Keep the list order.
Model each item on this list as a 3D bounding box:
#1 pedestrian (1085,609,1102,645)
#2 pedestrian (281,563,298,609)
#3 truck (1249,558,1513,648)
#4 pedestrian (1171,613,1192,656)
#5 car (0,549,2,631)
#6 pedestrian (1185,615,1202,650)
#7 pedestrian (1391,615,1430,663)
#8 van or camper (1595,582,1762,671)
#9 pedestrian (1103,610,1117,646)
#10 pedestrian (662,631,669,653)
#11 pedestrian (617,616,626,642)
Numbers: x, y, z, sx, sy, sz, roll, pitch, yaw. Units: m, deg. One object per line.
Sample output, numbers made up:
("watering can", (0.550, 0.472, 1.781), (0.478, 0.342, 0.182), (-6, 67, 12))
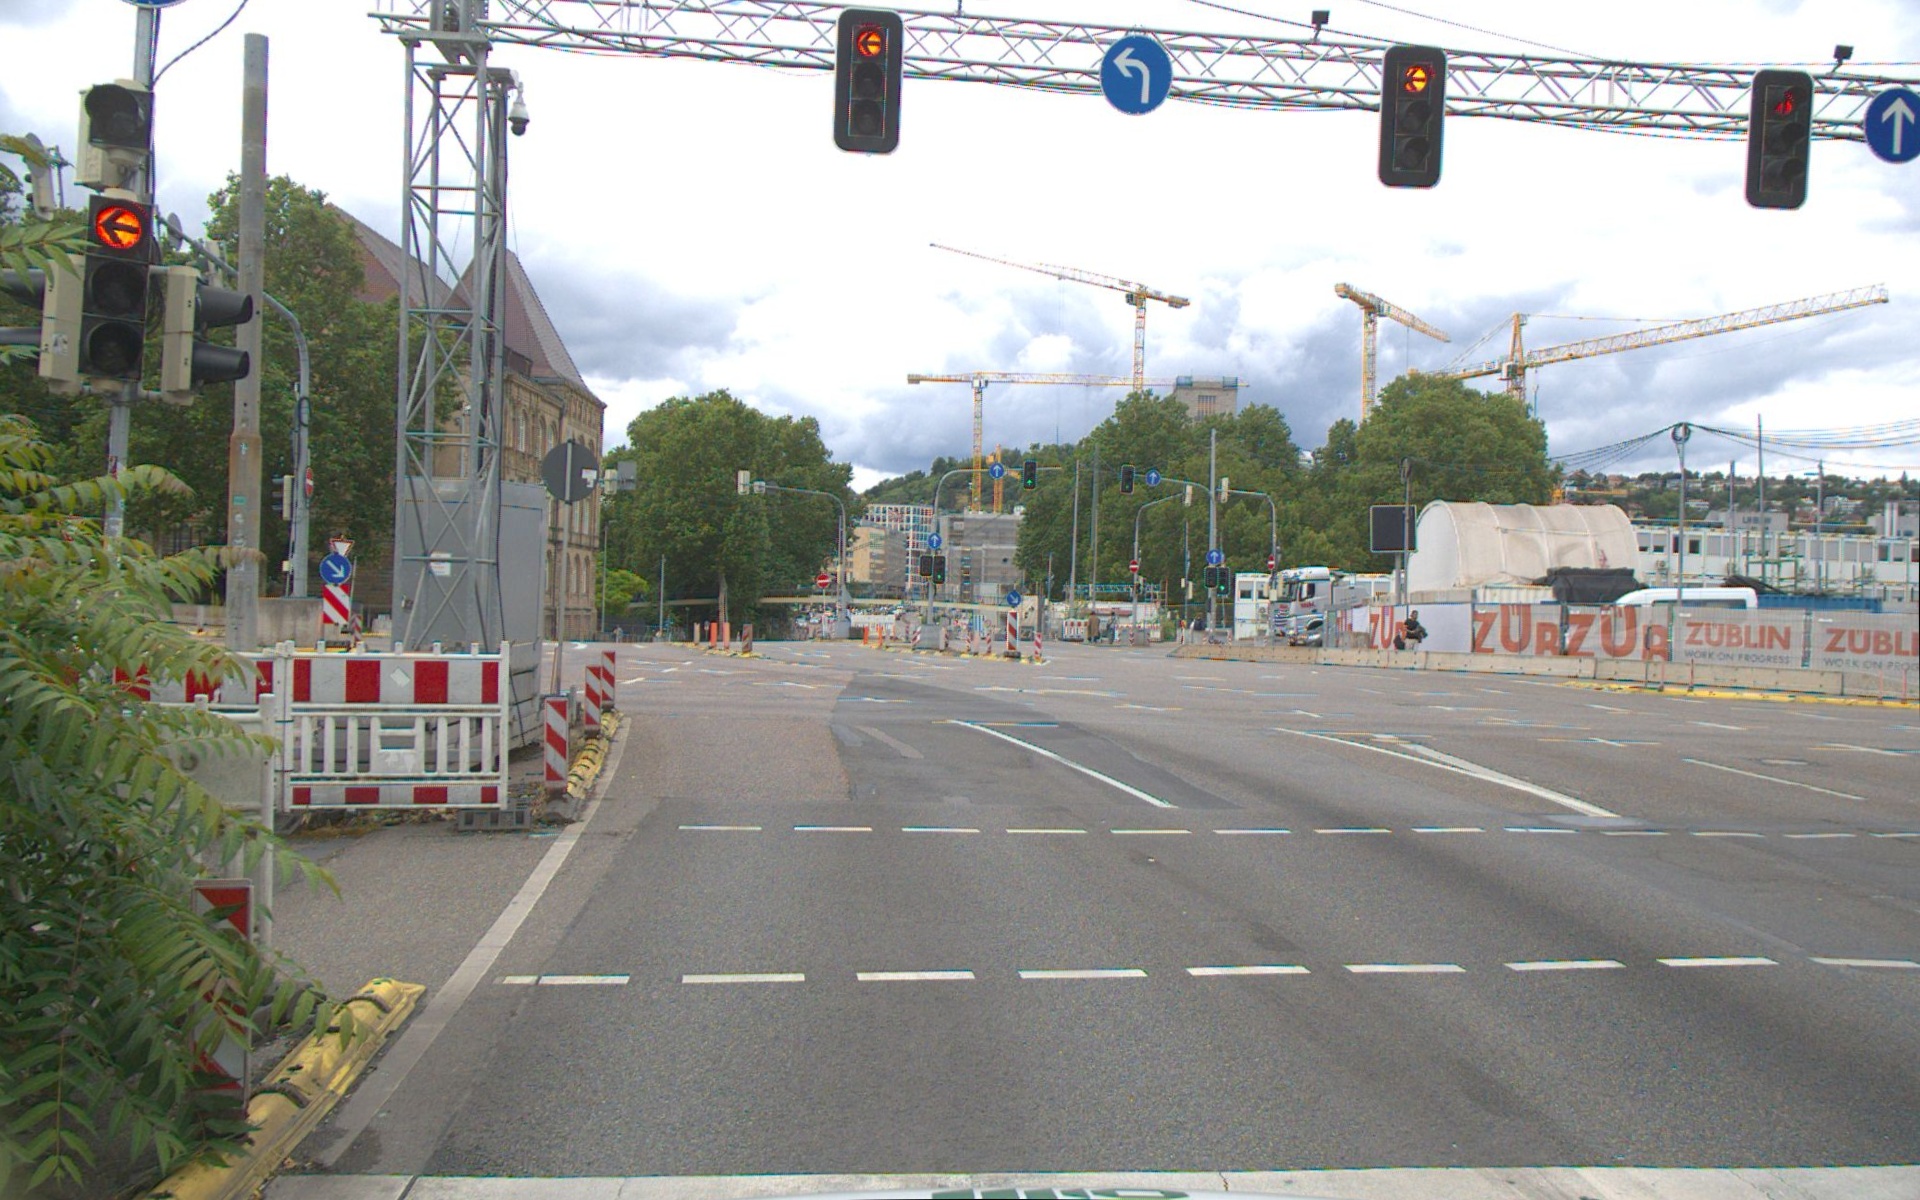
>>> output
("pedestrian", (6.479, 1.311, 80.157), (0.714, 1.718, 0.677), (2, 0, -1))
("pedestrian", (-29.535, -0.615, 72.863), (0.523, 2.049, 0.421), (2, -1, -44))
("truck", (20.990, 0.190, 82.322), (12.837, 4.111, 3.927), (1, 0, -21))
("pedestrian", (9.062, 1.418, 67.585), (0.714, 1.718, 0.677), (2, 0, -1))
("car", (-19.701, -0.144, 29.340), (4.239, 1.705, 1.993), (2, 0, -14))
("pedestrian", (11.534, 1.589, 81.618), (0.609, 1.718, 0.710), (2, 0, 28))
("pedestrian", (13.705, 1.183, 50.326), (0.784, 1.402, 0.900), (2, 0, -18))
("van or camper", (20.730, 0.750, 47.913), (4.123, 2.398, 2.001), (1, 0, 14))
("pedestrian", (7.307, 1.354, 80.637), (0.555, 1.718, 0.471), (2, 0, -1))
("pedestrian", (-27.976, 3.972, 157.263), (0.513, 2.049, 0.566), (1, 0, -1))
("pedestrian", (-26.635, 2.297, 130.240), (0.513, 2.049, 0.566), (1, 0, -1))
